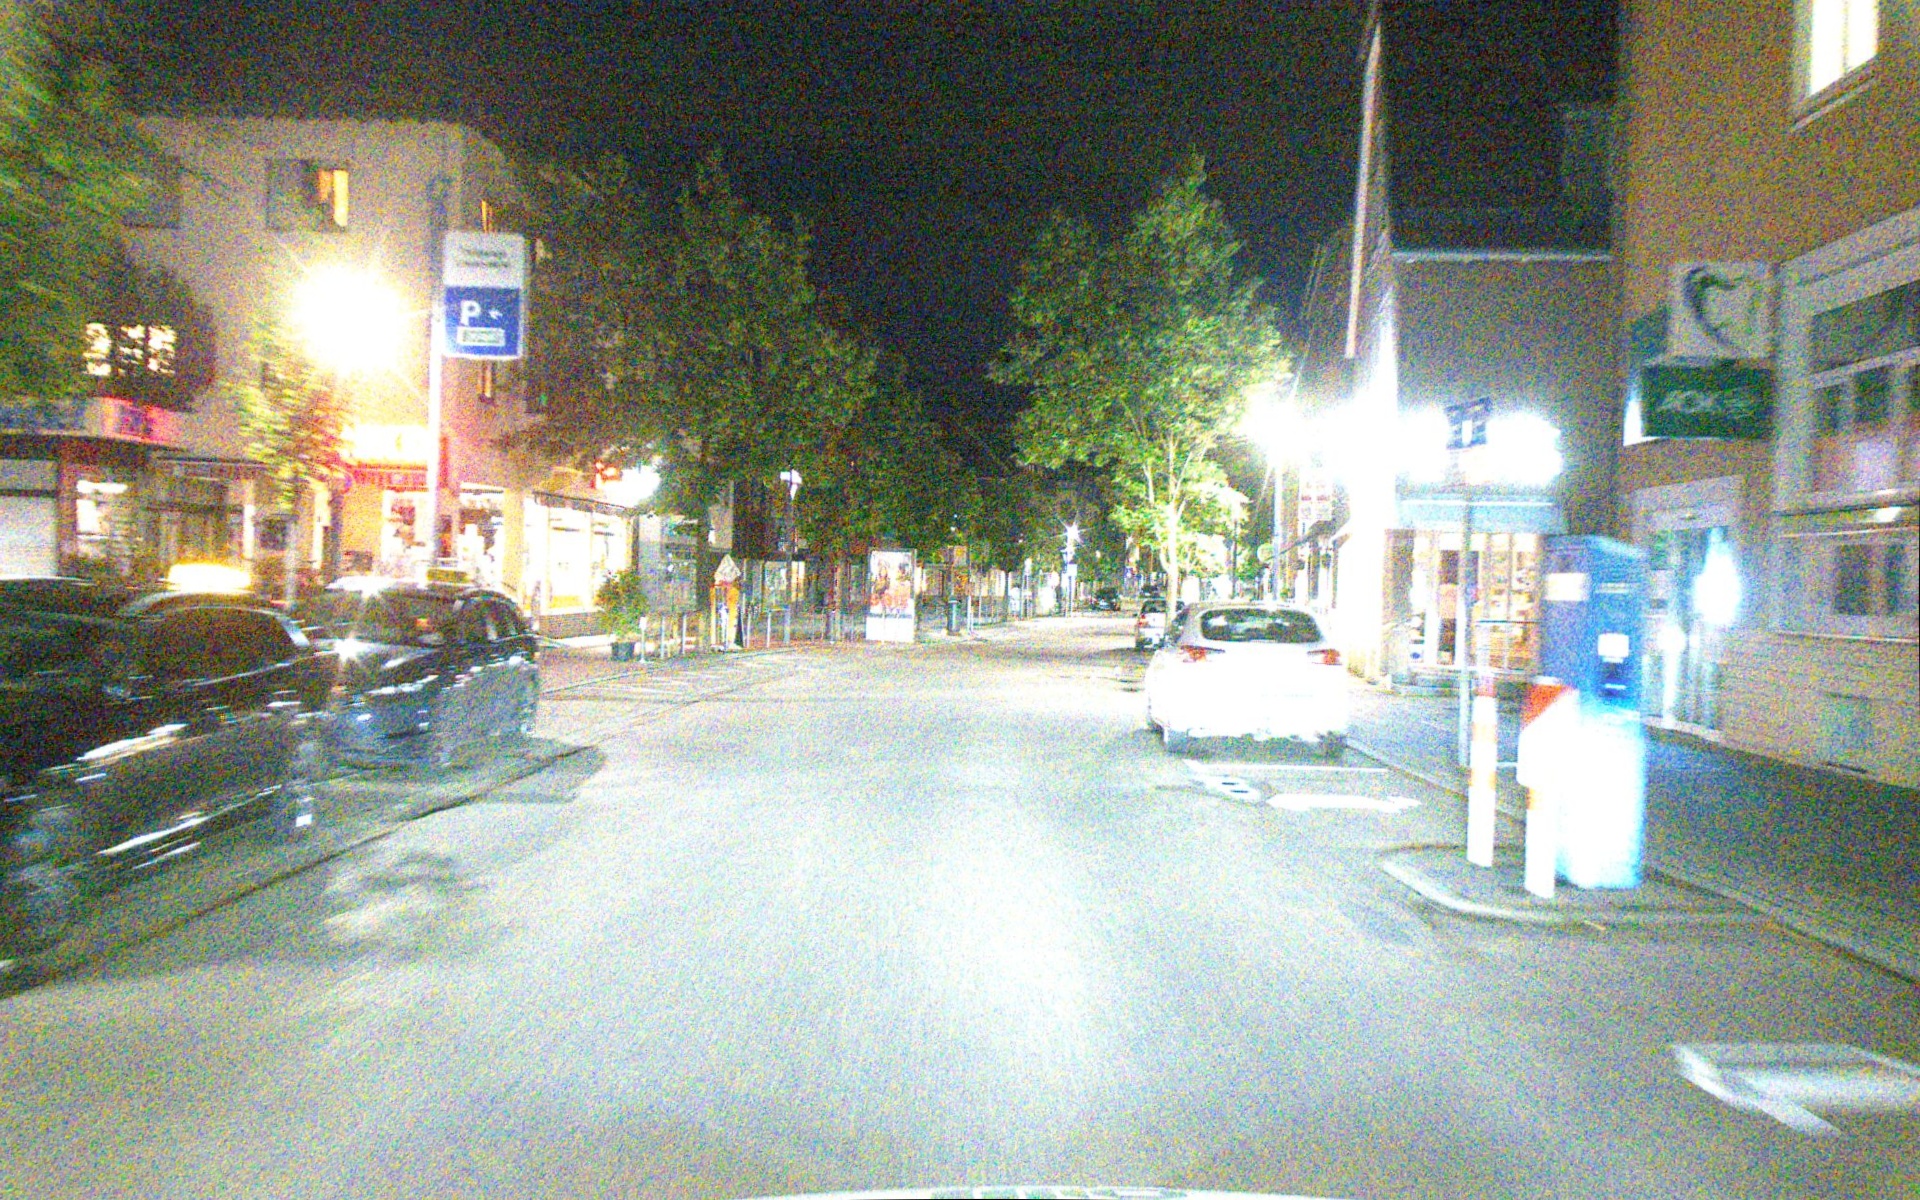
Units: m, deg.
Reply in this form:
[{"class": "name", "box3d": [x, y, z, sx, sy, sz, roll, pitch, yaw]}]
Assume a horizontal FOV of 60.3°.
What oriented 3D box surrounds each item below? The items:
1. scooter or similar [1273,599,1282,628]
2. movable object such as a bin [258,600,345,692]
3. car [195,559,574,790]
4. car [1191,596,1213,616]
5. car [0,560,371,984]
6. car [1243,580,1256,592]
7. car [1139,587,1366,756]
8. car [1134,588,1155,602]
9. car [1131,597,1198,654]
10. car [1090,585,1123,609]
[{"class": "scooter or similar", "box3d": [14.361, 0.603, 74.866, 0.365, 1.299, 1.306, 1, -1, 11]}, {"class": "movable object such as a bin", "box3d": [-8.039, 0.554, 20.221, 0.731, 1.083, 0.792, 1, -1, -1]}, {"class": "car", "box3d": [-4.773, 0.528, 14.527, 1.723, 1.666, 4.814, 1, 0, -1]}, {"class": "car", "box3d": [18.824, 0.429, 128.643, 1.639, 1.485, 3.679, 1, 1, 8]}, {"class": "car", "box3d": [-4.582, 0.600, 8.058, 1.867, 1.568, 4.779, 2, 0, -3]}, {"class": "car", "box3d": [40.024, -1.950, 228.579, 1.737, 1.681, 4.368, 1, 1, 11]}, {"class": "car", "box3d": [2.922, 0.680, 17.415, 1.706, 1.513, 4.637, 1, -1, 2]}, {"class": "car", "box3d": [19.880, -0.500, 178.061, 1.873, 1.394, 4.461, 1, 1, 12]}, {"class": "car", "box3d": [5.743, 0.677, 46.830, 1.698, 1.466, 4.499, 1, 1, 5]}, {"class": "car", "box3d": [11.047, -0.246, 124.482, 1.975, 1.720, 5.007, 3, 1, 11]}]
